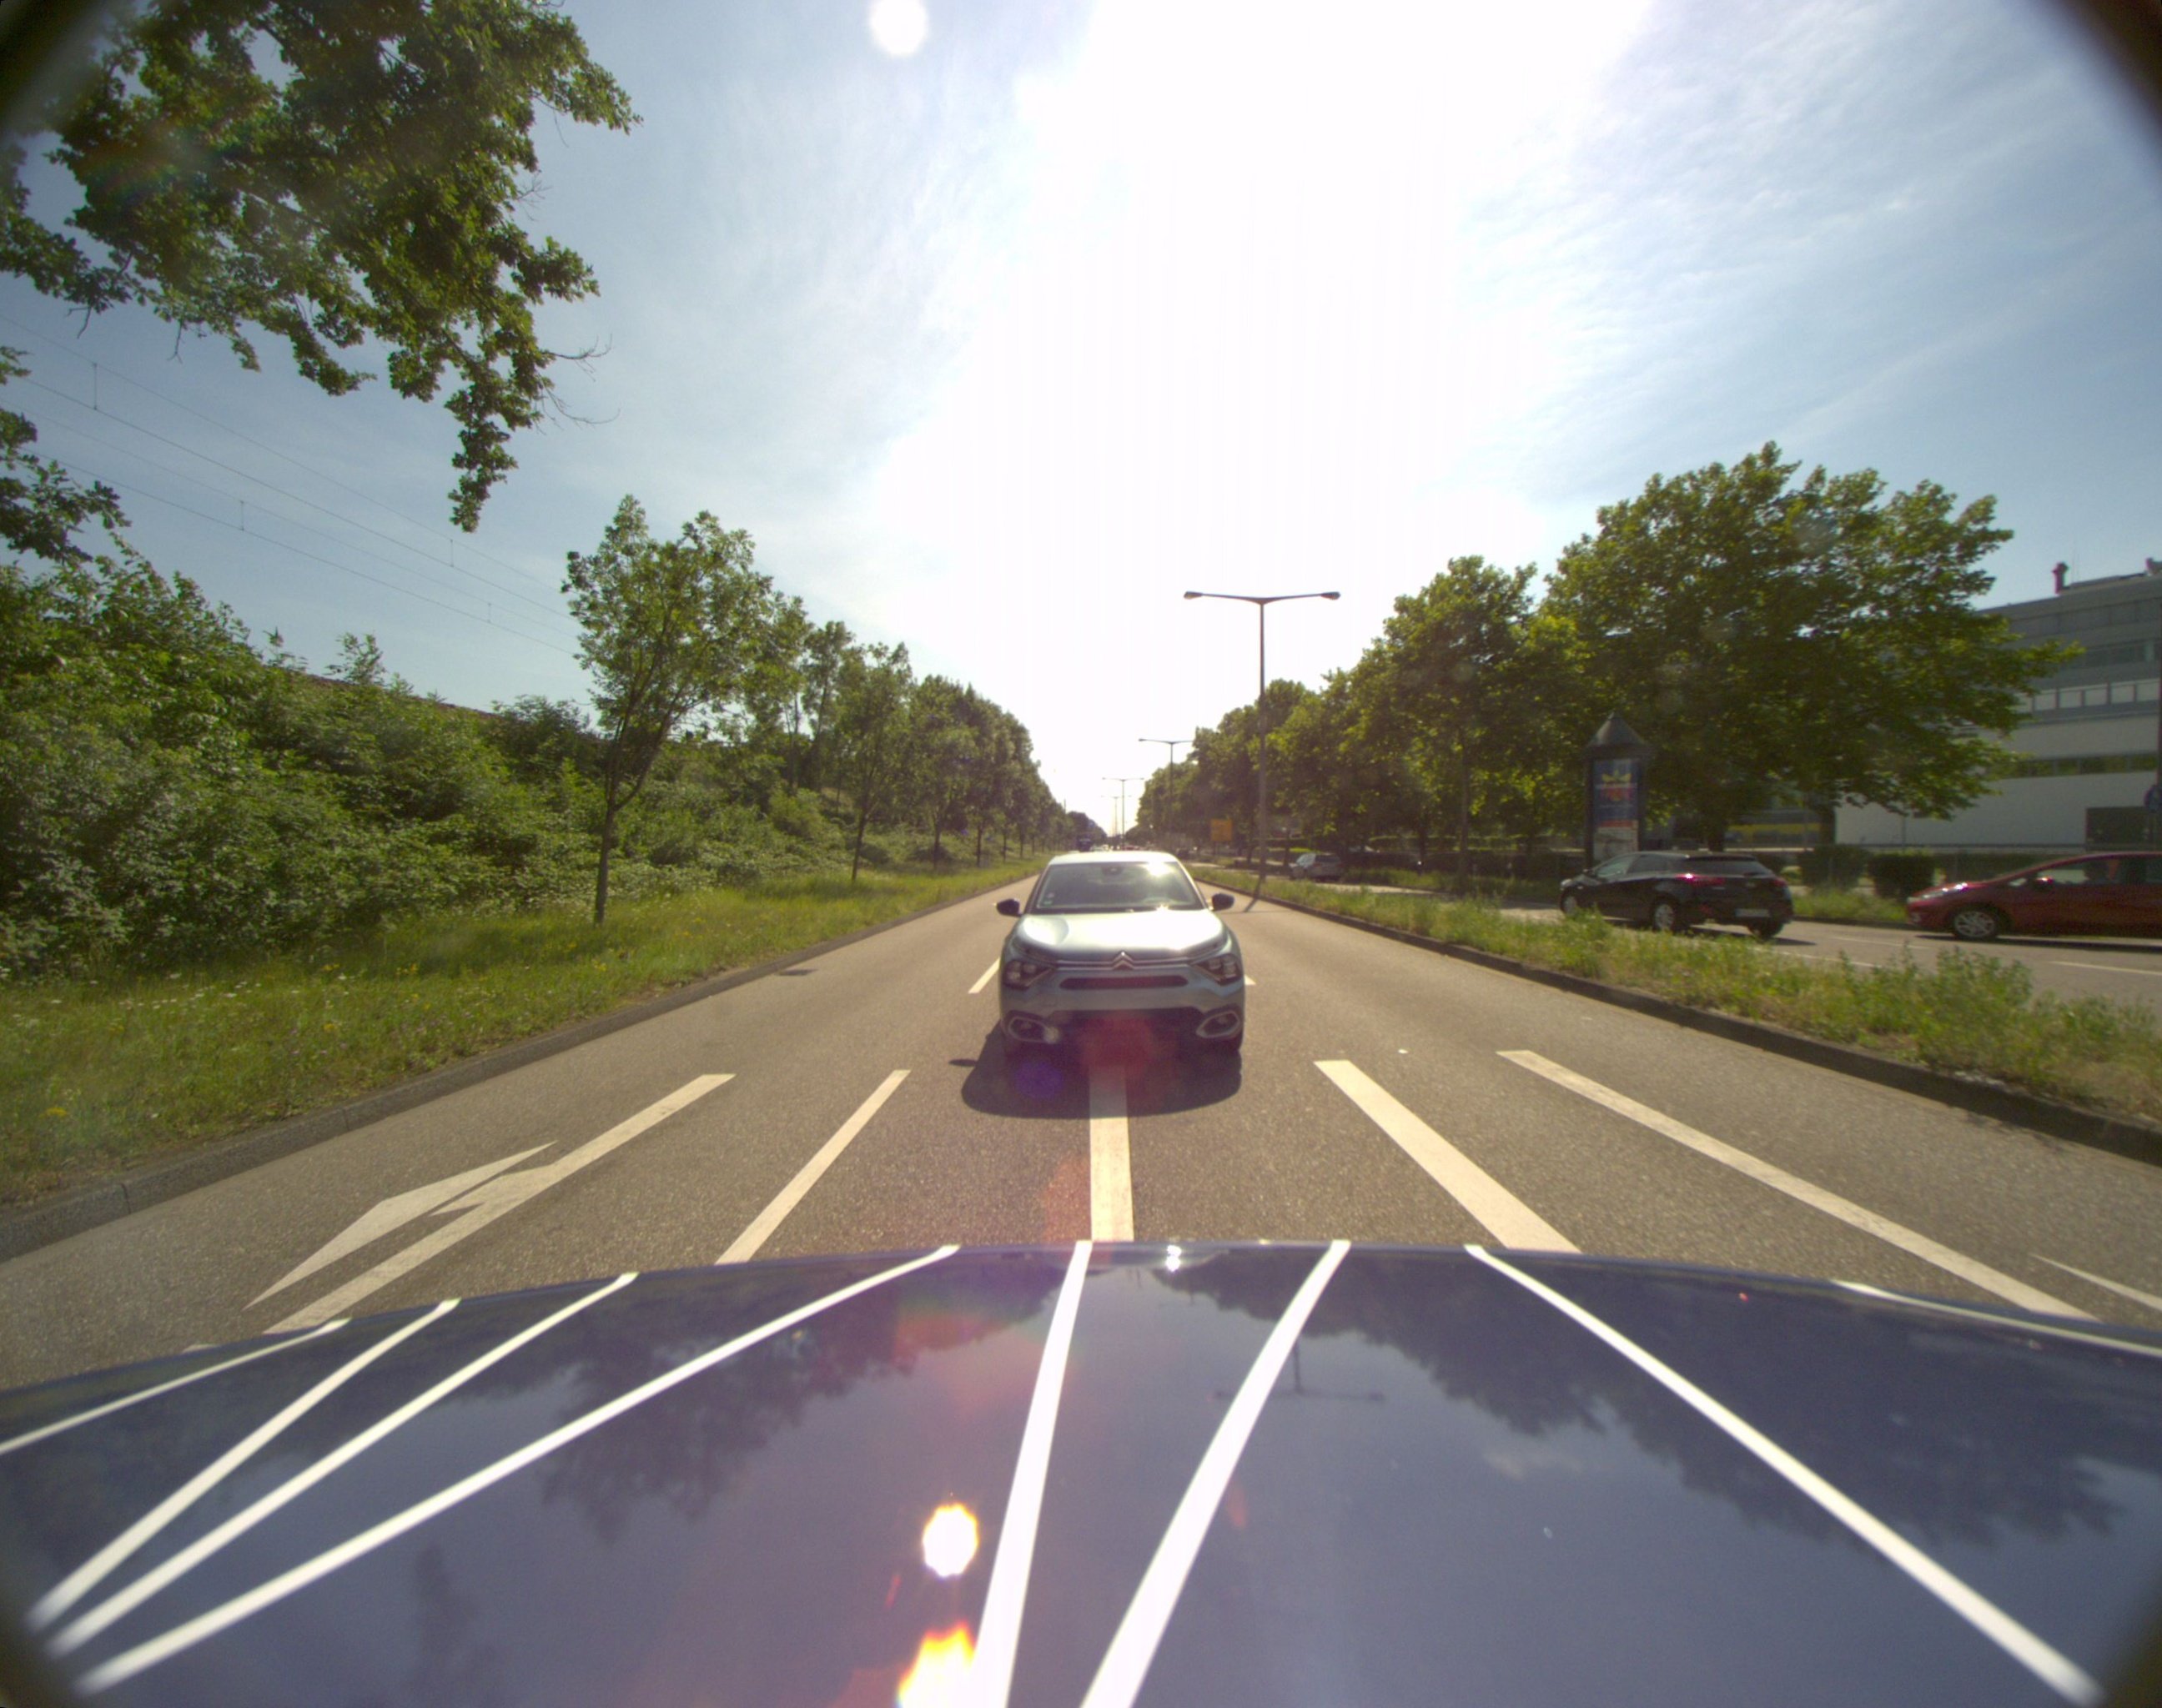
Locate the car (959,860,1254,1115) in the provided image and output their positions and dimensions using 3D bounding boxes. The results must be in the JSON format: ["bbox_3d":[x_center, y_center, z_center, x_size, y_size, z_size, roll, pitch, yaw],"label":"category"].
[{"bbox_3d":[0.242,0.860,7.126,1.826,1.521,4.752,-1,0,2],"label":"car"}]

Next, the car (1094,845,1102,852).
[{"bbox_3d":[4.446,-1.468,200.669,1.998,2.002,4.000,-1,1,1],"label":"car"}]

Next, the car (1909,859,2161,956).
[{"bbox_3d":[16.305,0.807,12.383,1.858,1.426,3.756,1,0,-42],"label":"car"}]

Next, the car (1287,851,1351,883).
[{"bbox_3d":[11.733,0.592,37.719,1.844,1.414,4.221,1,0,0],"label":"car"}]

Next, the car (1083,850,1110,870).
[{"bbox_3d":[1.216,0.441,59.779,1.998,1.492,4.000,-1,0,1],"label":"car"}]

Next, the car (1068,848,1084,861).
[{"bbox_3d":[-0.643,0.049,88.849,1.705,1.429,3.677,-2,1,-2],"label":"car"}]

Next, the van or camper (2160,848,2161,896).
[{"bbox_3d":[39.489,0.641,25.008,2.004,1.682,4.500,-1,1,-37],"label":"van or camper"}]

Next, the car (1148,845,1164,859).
[{"bbox_3d":[11.503,-0.321,116.576,1.998,2.002,4.000,-1,1,1],"label":"car"}]

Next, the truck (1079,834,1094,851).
[{"bbox_3d":[1.021,-2.154,148.400,2.775,3.248,7.482,0,1,1],"label":"truck"}]

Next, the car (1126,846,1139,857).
[{"bbox_3d":[9.133,-0.440,135.406,1.998,2.002,4.000,-1,1,1],"label":"car"}]

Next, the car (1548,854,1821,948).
[{"bbox_3d":[10.808,0.749,14.037,1.844,1.414,3.893,0,1,-2],"label":"car"}]
